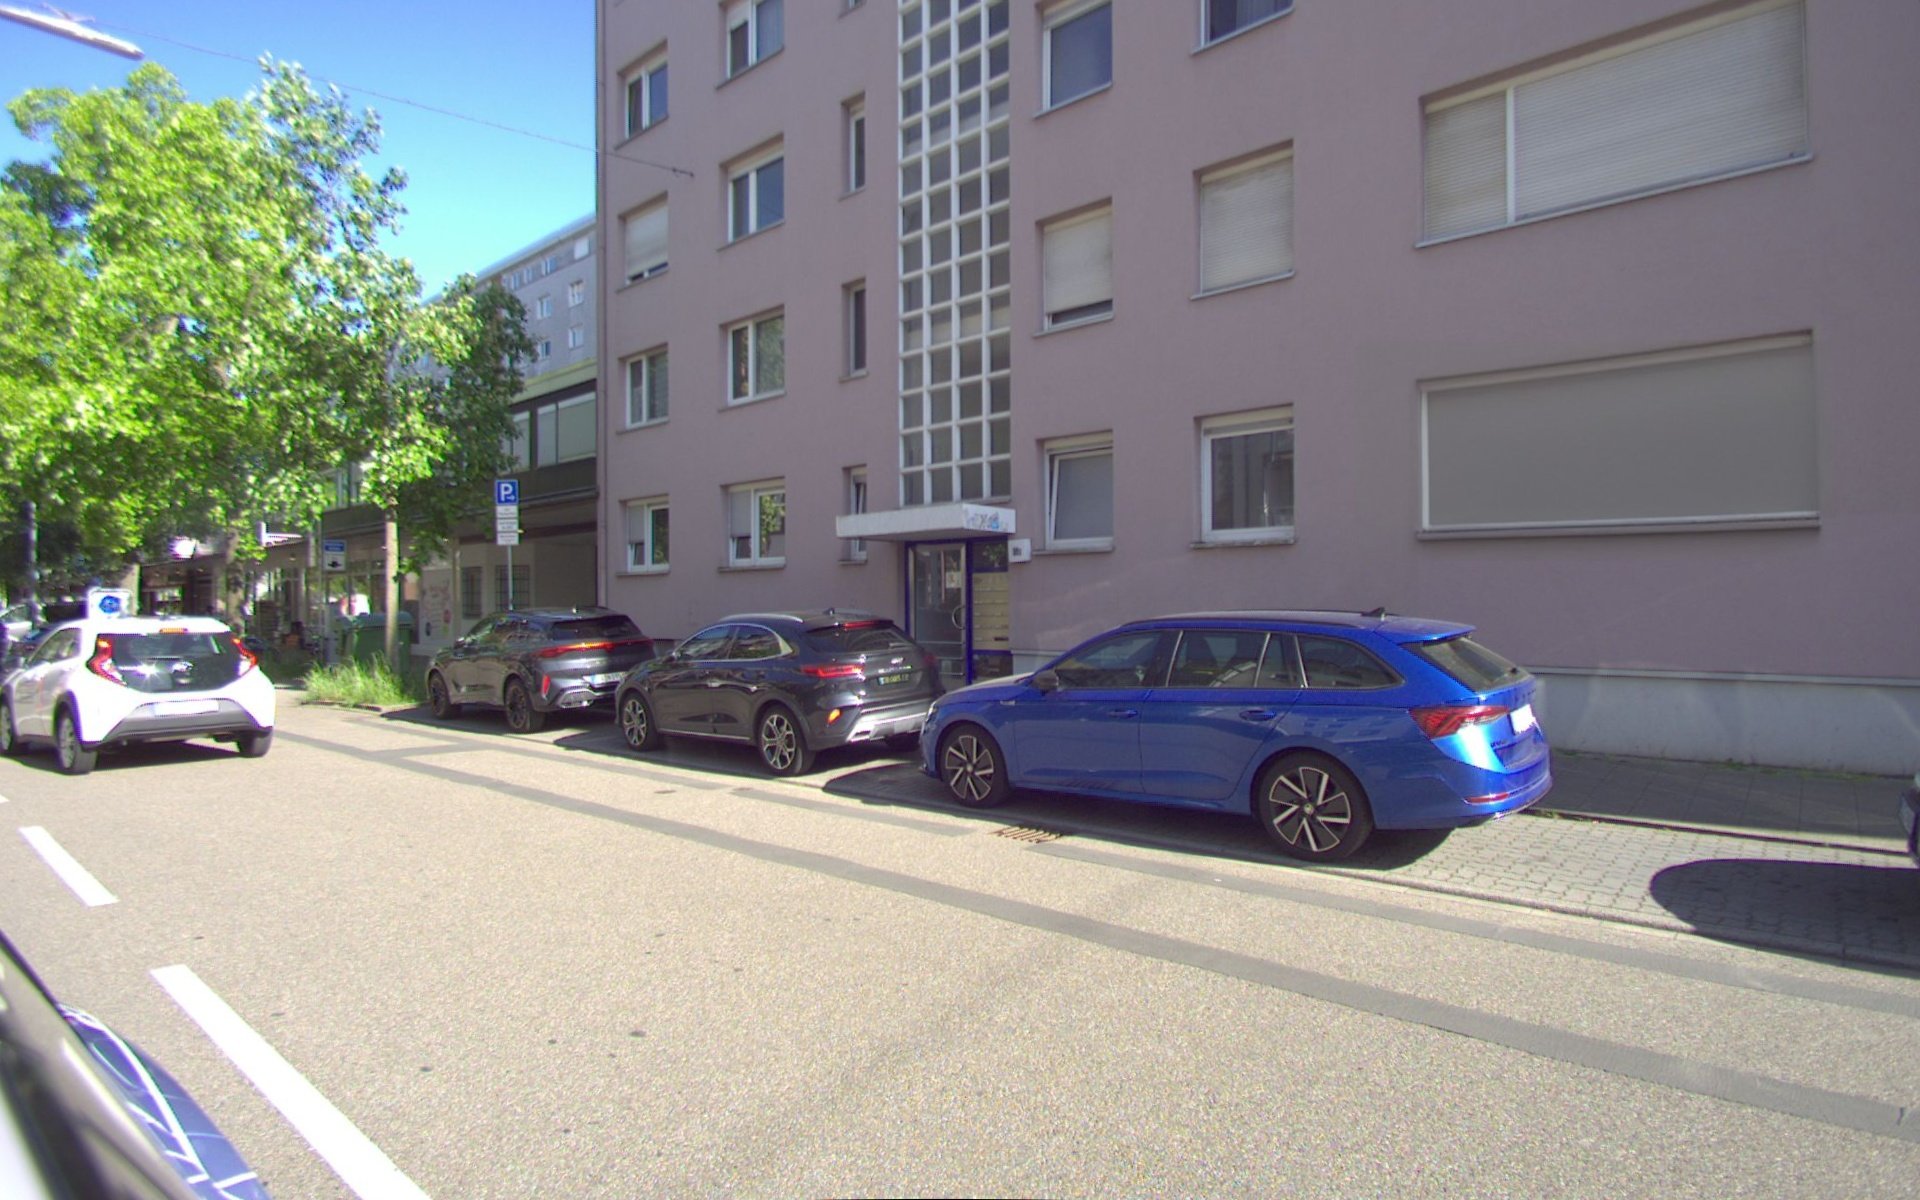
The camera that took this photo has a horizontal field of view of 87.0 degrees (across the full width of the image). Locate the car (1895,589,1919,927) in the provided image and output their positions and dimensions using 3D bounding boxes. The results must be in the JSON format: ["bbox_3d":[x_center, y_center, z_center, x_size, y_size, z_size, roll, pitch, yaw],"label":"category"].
[{"bbox_3d":[6.342,0.675,3.243,4.812,1.476,1.700,-1,1,41],"label":"car"}]

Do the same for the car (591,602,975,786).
[{"bbox_3d":[-2.032,0.843,10.796,4.245,1.519,1.798,-1,1,43],"label":"car"}]

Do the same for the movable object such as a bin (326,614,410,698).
[{"bbox_3d":[-11.567,1.066,19.778,1.230,1.557,1.019,0,-1,-44],"label":"movable object such as a bin"}]

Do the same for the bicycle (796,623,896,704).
[{"bbox_3d":[-1.680,0.899,14.715,1.649,1.084,0.386,-1,3,42],"label":"bicycle"}]

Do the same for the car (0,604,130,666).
[{"bbox_3d":[-31.274,1.168,34.832,1.999,2.047,3.945,-1,-1,41],"label":"car"}]

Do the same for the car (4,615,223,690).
[{"bbox_3d":[-20.963,1.227,25.174,1.999,1.687,3.945,-1,-1,41],"label":"car"}]

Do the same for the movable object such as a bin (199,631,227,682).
[{"bbox_3d":[-18.479,1.383,25.028,0.409,1.234,0.482,-1,-1,41],"label":"movable object such as a bin"}]

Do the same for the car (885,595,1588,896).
[{"bbox_3d":[1.701,0.779,7.327,4.610,1.476,1.700,-1,1,41],"label":"car"}]

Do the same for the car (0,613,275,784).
[{"bbox_3d":[-9.221,0.941,11.117,3.781,1.548,1.748,-1,-1,38],"label":"car"}]

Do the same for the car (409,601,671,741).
[{"bbox_3d":[-6.044,0.896,14.335,4.141,1.604,1.798,-1,2,43],"label":"car"}]
